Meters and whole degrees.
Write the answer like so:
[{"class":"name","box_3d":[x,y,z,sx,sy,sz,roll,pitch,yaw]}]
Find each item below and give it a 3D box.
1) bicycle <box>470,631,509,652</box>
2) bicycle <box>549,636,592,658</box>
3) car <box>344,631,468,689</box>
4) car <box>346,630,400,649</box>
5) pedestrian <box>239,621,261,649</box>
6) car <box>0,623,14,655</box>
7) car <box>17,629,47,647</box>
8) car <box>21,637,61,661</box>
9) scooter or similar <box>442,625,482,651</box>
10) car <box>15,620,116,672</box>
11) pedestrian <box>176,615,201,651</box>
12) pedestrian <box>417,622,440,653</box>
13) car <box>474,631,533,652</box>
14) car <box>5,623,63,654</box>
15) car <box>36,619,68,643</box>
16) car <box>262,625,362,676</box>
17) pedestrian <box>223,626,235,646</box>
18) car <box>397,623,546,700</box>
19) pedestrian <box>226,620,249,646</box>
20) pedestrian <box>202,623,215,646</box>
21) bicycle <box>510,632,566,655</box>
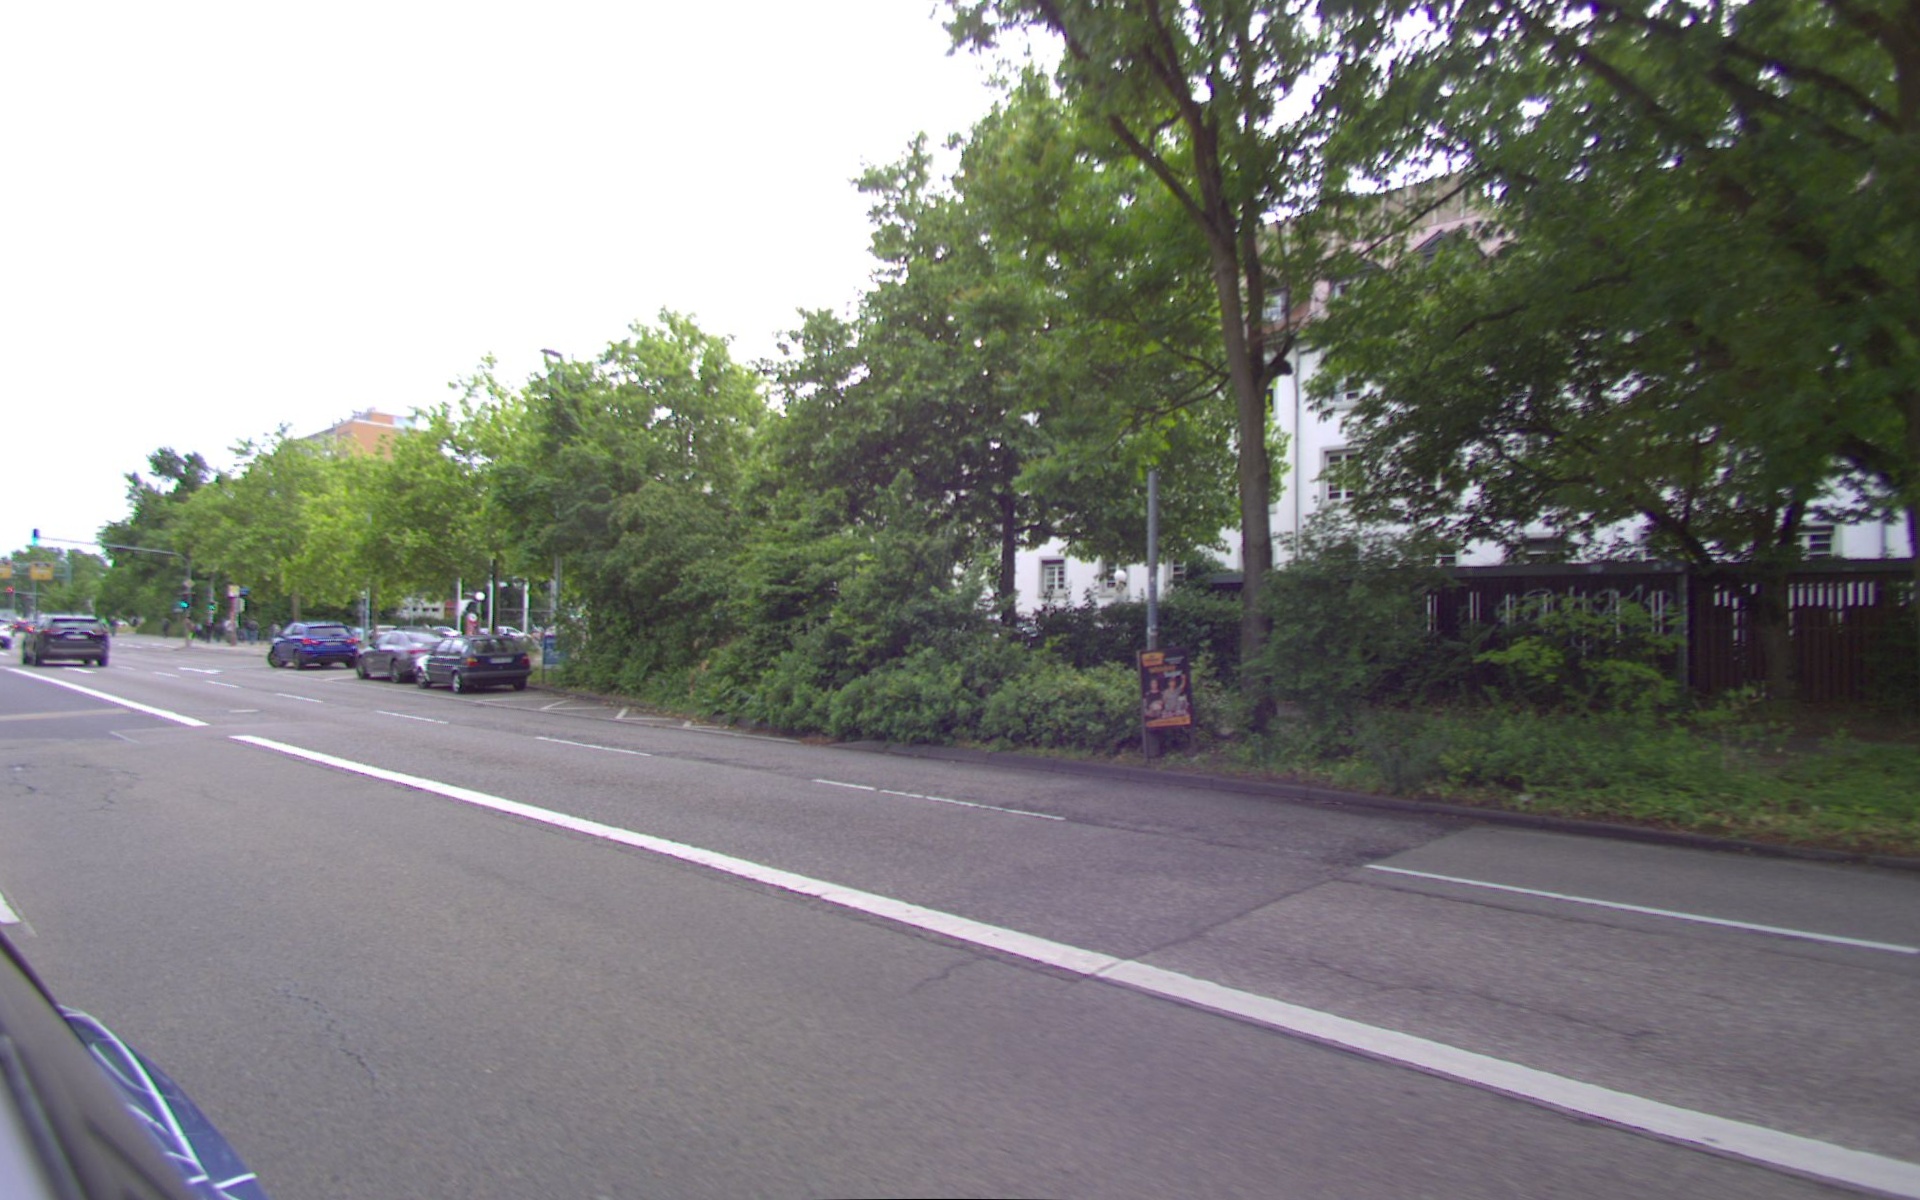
[{"class":"bicycle","box_3d":[-26.552,2.370,57.129,0.717,1.162,2.020,0,-3,23]},{"class":"bicycle","box_3d":[-24.181,2.923,62.912,0.720,1.364,2.461,-1,-3,37]},{"class":"car","box_3d":[-15.842,1.631,28.832,1.852,1.435,4.731,-1,0,-45]},{"class":"car","box_3d":[-49.343,3.300,85.061,1.862,1.461,3.547,-1,-2,41]},{"class":"pedestrian","box_3d":[-46.862,2.332,66.784,0.934,1.817,0.886,-1,-4,38]},{"class":"car","box_3d":[-48.711,1.887,50.320,4.178,1.559,1.972,-1,-4,41]},{"class":"car","box_3d":[-87.469,3.604,95.441,1.969,1.632,4.005,3,-3,-42]},{"class":"car","box_3d":[-67.299,3.586,74.102,3.998,1.702,1.680,-1,-3,41]},{"class":"scooter or similar","box_3d":[-23.799,1.815,48.386,0.566,1.253,1.558,-1,-3,41]},{"class":"car","box_3d":[-29.485,1.476,33.311,4.514,1.605,1.883,-1,-3,41]},{"class":"pedestrian","box_3d":[-44.341,1.889,58.162,1.008,2.029,0.885,-1,-3,39]},{"class":"pedestrian","box_3d":[-34.846,2.477,66.338,1.091,2.029,0.789,0,-3,25]},{"class":"car","box_3d":[-36.952,3.314,81.960,1.998,1.592,3.947,-1,-1,40]},{"class":"car","box_3d":[-53.268,2.204,58.189,4.466,1.707,1.972,-1,-3,41]},{"class":"car","box_3d":[-72.902,2.465,81.233,1.751,1.862,4.493,0,-1,-43]},{"class":"car","box_3d":[-22.503,1.700,35.081,4.592,1.620,1.838,-1,-1,43]},{"class":"pedestrian","box_3d":[-59.340,2.908,82.157,0.600,1.619,0.498,-1,-3,29]},{"class":"car","box_3d":[-12.240,1.455,25.267,3.998,1.702,1.973,-1,0,41]},{"class":"pedestrian","box_3d":[-58.465,2.675,81.929,1.088,2.029,1.038,-1,-1,10]},{"class":"pedestrian","box_3d":[-55.008,2.530,74.064,0.653,1.708,0.583,-2,-4,44]},{"class":"bicycle","box_3d":[-22.467,2.309,53.918,0.720,1.183,2.720,-1,-3,37]}]
